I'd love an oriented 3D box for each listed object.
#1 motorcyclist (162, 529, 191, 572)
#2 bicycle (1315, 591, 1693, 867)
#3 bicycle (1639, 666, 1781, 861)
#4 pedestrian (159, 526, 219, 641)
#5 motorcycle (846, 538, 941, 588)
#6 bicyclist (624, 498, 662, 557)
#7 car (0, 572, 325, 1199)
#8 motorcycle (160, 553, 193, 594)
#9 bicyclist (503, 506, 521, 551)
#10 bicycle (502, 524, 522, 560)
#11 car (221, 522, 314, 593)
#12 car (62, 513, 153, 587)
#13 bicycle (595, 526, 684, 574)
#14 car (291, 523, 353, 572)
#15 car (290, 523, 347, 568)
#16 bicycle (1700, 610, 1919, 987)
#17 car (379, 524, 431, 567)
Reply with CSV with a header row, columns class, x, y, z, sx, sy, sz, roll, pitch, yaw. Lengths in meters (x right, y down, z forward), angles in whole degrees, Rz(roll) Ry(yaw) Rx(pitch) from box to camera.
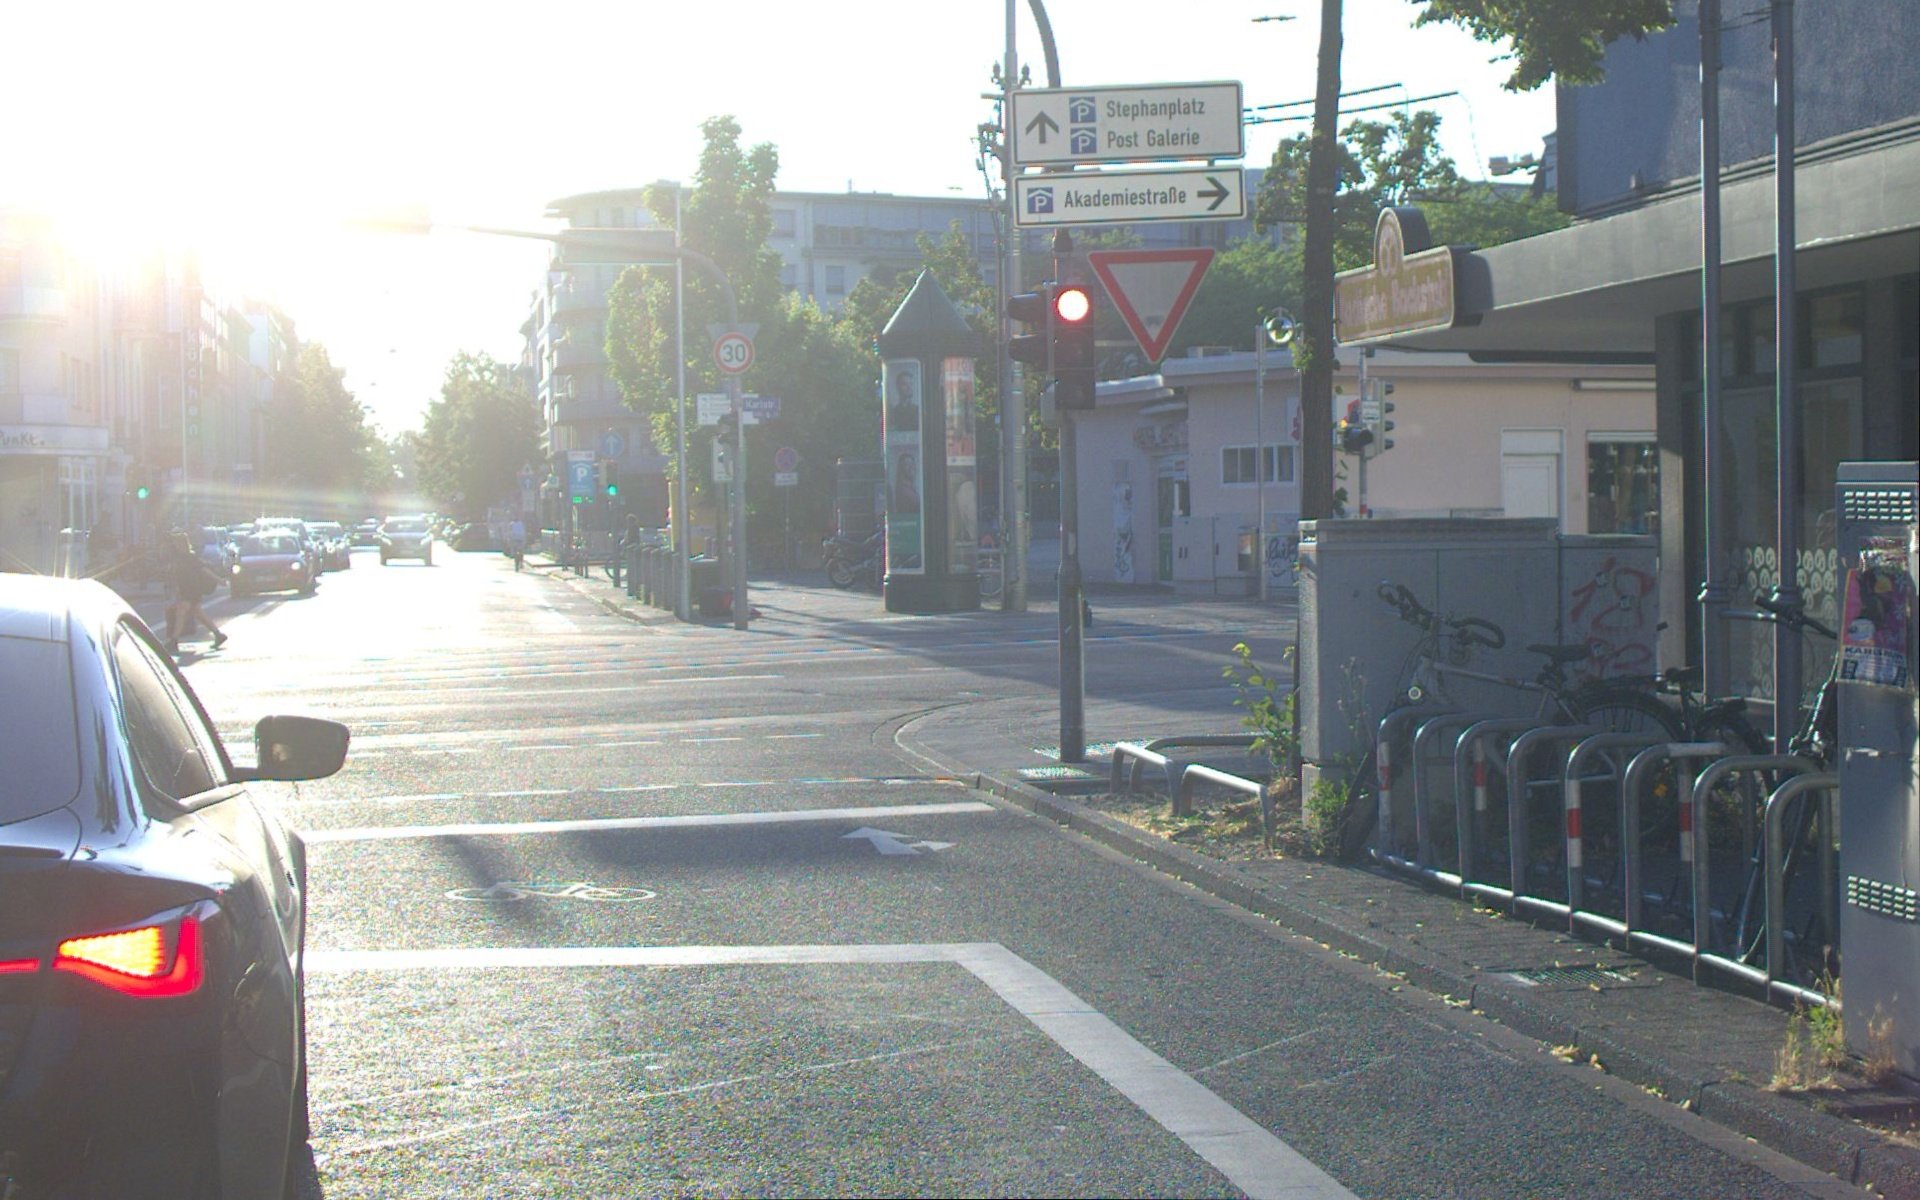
class,x,y,z,sx,sy,sz,roll,pitch,yaw
motorcyclist,-18.186,-1.146,79.805,0.575,0.992,0.703,1,1,-8
bicycle,2.398,0.559,15.170,1.612,1.167,0.318,-1,1,-6
bicycle,3.337,0.715,15.353,0.249,0.793,1.116,1,1,-7
pedestrian,-10.315,-0.226,45.972,0.732,1.524,0.473,1,1,-17
motorcycle,-1.316,-0.739,67.850,1.668,0.935,0.856,-1,2,-19
bicyclist,-8.203,-1.872,89.000,0.884,1.500,0.612,1,1,3
car,-2.119,0.681,6.510,1.736,1.424,4.225,0,1,-10
motorcycle,-18.236,-0.622,80.044,0.575,0.912,2.201,1,1,-8
bicyclist,-14.667,-2.338,112.583,0.550,1.476,0.723,0,0,-10
bicycle,-14.658,-1.905,112.530,0.550,1.155,2.145,0,1,-10
car,-15.621,-0.985,77.652,1.817,1.514,4.001,-1,2,-8
car,-21.586,-1.280,87.112,1.817,1.782,4.001,-1,1,-8
bicycle,-8.306,-1.299,89.010,2.212,1.198,0.620,1,1,3
car,-20.883,-1.735,112.669,1.817,1.514,4.001,-1,2,-8
car,-22.978,-1.967,123.198,1.817,1.514,4.001,-1,2,-8
bicycle,3.226,0.653,11.413,1.440,1.216,0.383,1,1,-7
car,-20.722,-2.043,128.415,1.817,1.514,4.001,-1,2,-8
